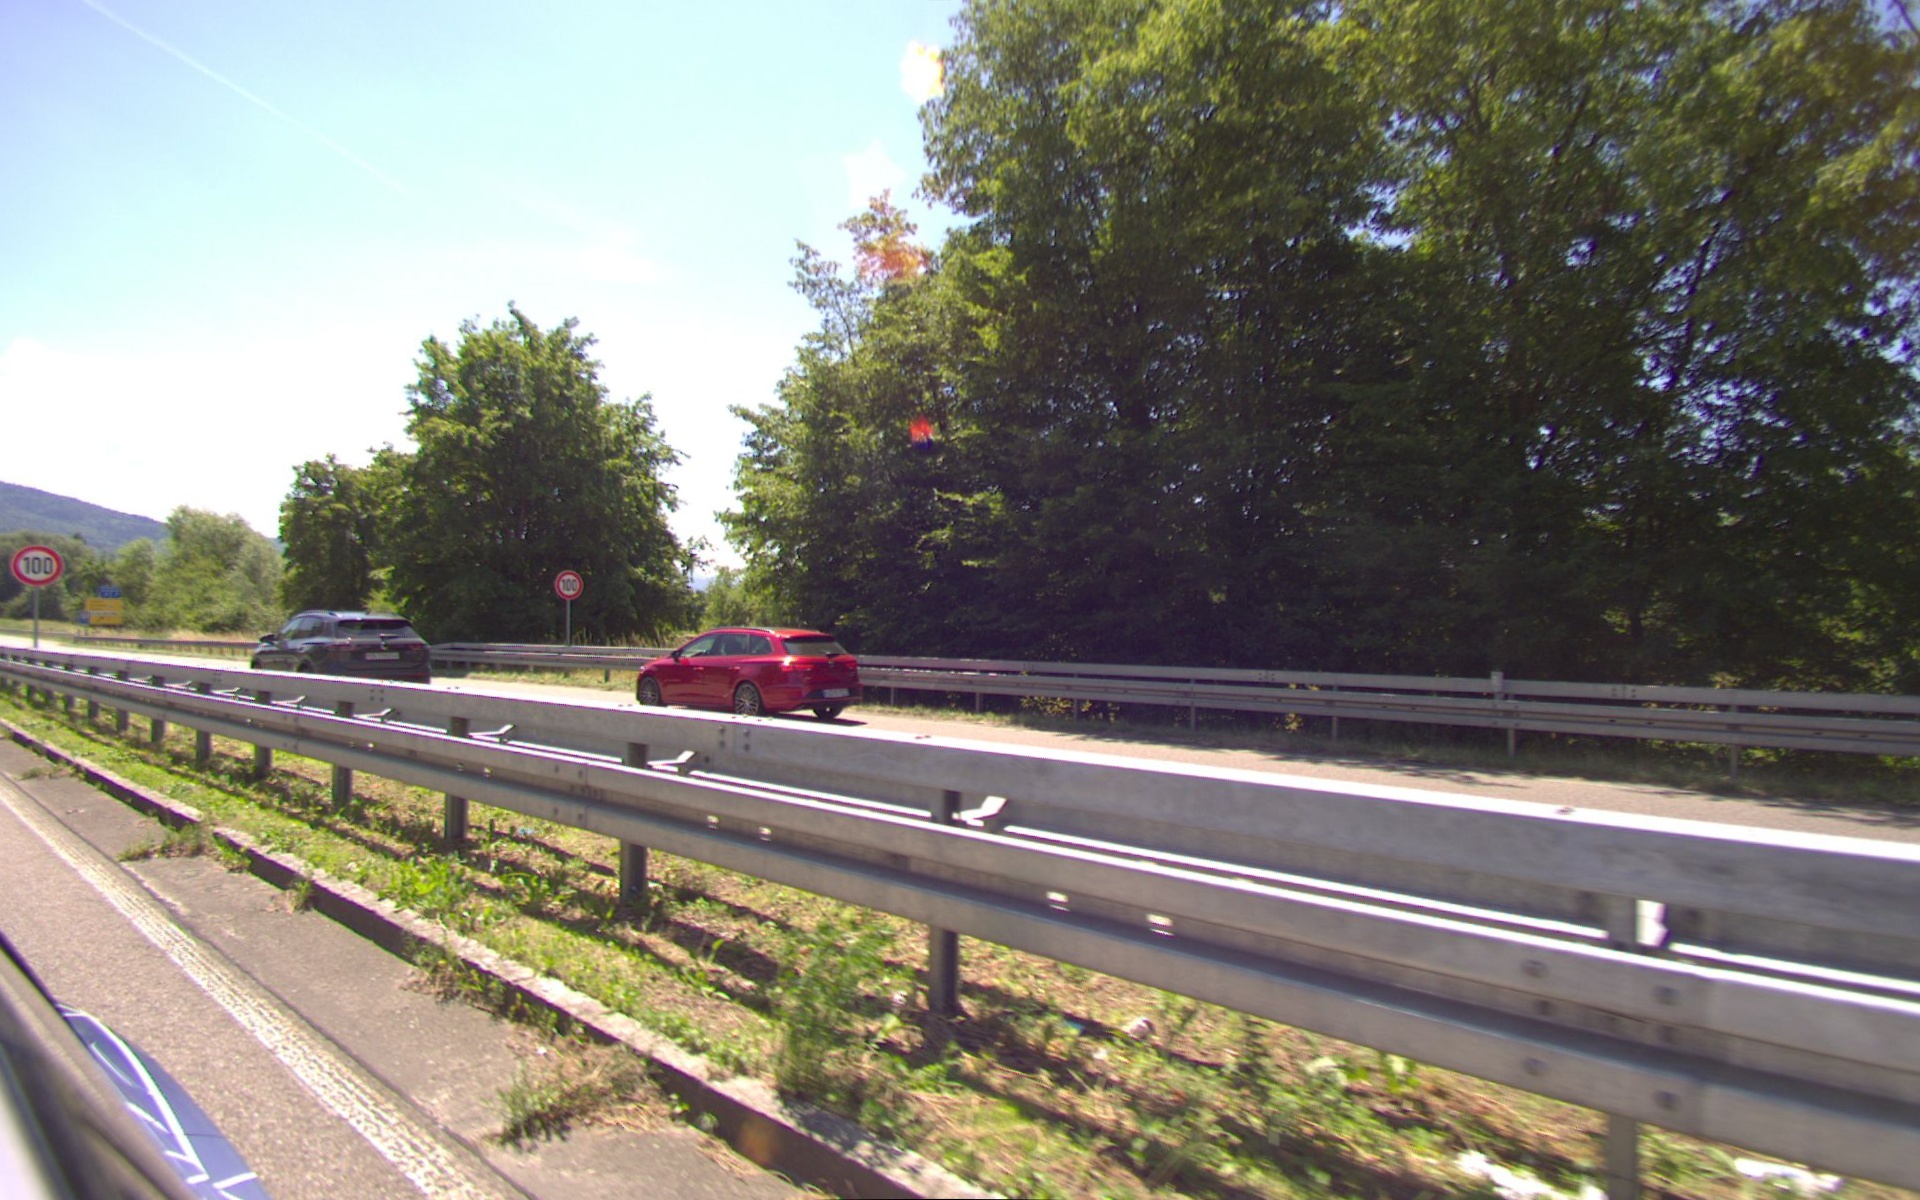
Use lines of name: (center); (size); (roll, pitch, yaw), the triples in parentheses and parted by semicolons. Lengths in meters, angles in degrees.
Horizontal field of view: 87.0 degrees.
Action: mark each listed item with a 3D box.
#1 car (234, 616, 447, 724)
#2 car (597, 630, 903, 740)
car: (-10.979, 1.157, 17.831); (4.387, 1.674, 1.973); (-2, -3, 41)
car: (-3.551, 1.250, 16.373); (5.441, 1.505, 1.973); (-2, -3, 41)
